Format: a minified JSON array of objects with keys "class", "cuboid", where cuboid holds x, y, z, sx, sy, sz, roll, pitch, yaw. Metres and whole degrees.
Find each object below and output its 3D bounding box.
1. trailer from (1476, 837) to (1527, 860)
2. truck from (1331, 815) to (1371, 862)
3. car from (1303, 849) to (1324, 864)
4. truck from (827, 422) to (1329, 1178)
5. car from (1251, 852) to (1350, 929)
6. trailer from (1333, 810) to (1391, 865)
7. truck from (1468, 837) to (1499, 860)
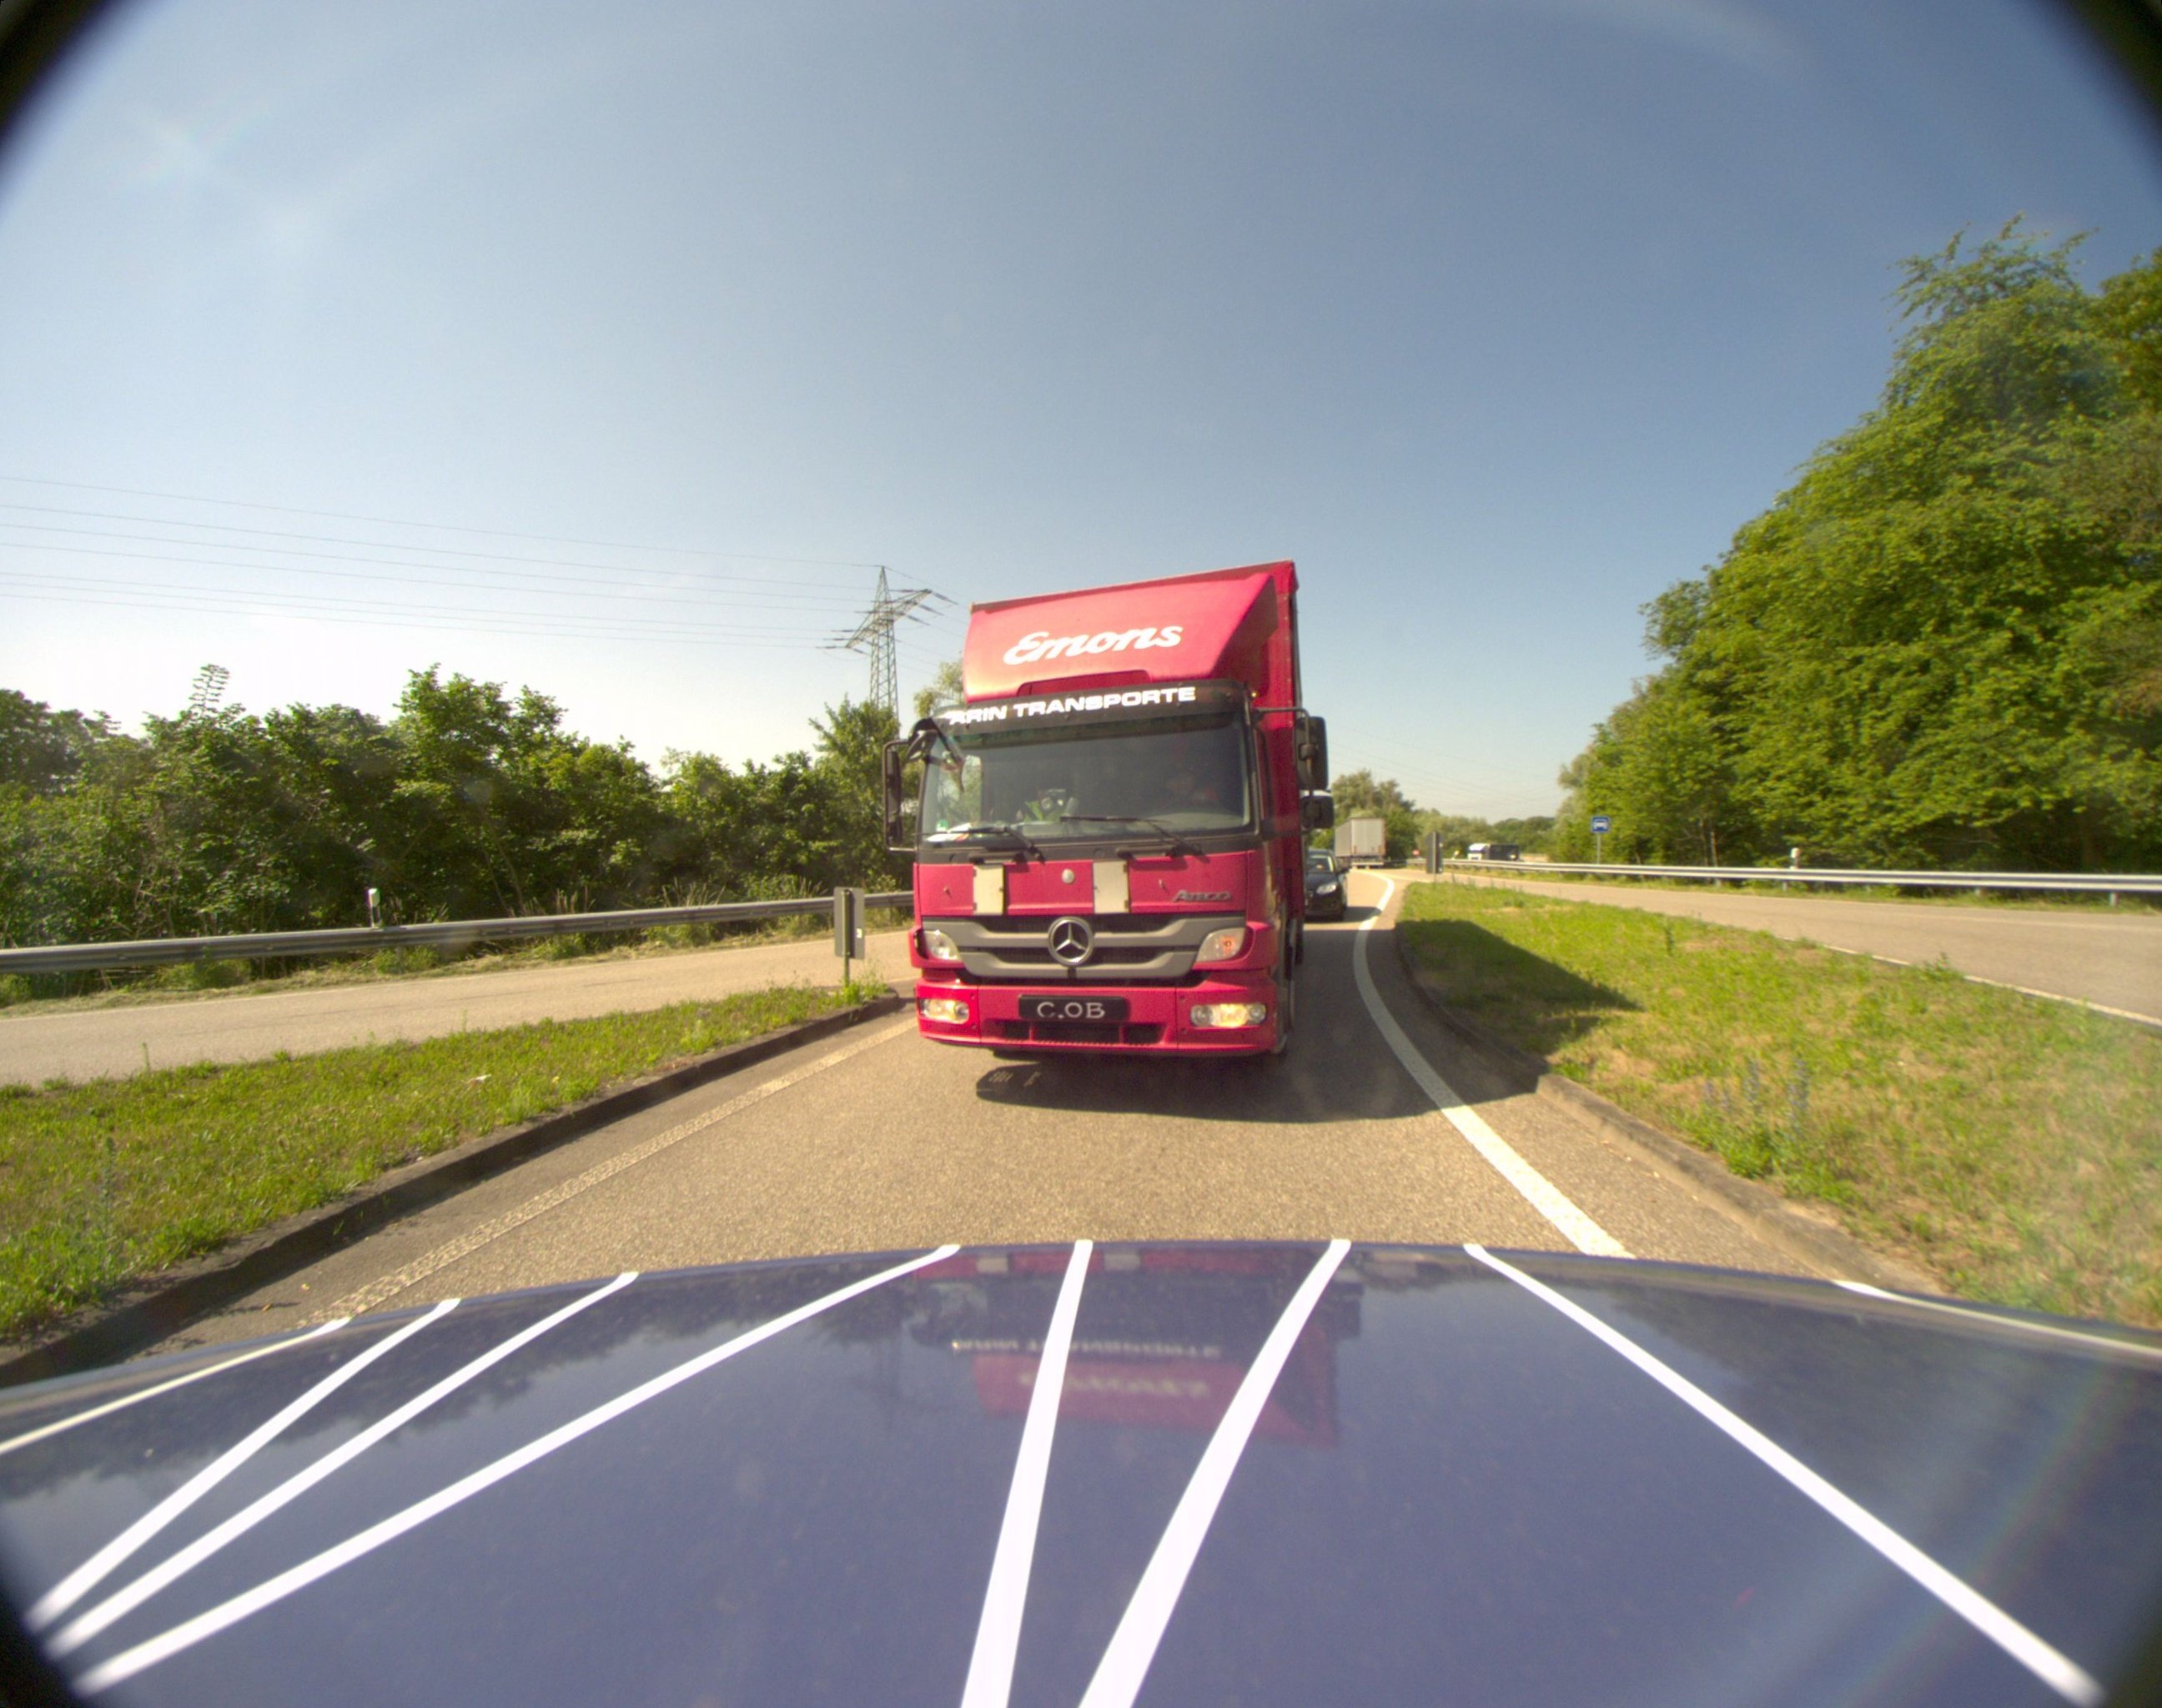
[{"class":"trailer","cuboid":[81.982,-1.077,148.029,14.008,4.216,2.922,0,2,-36]},{"class":"truck","cuboid":[25.448,-1.435,71.840,2.935,4.222,5.738,1,1,13]},{"class":"car","cuboid":[21.690,0.224,71.032,1.785,1.377,4.383,0,1,16]},{"class":"truck","cuboid":[1.201,-0.276,8.484,2.686,3.640,9.273,-1,0,17]},{"class":"car","cuboid":[4.857,0.707,16.418,1.785,1.406,4.005,-1,0,20]},{"class":"trailer","cuboid":[23.844,-1.324,65.230,2.954,4.243,13.995,1,1,14]},{"class":"truck","cuboid":[76.143,-1.074,143.758,5.743,4.213,2.932,0,1,-36]}]
